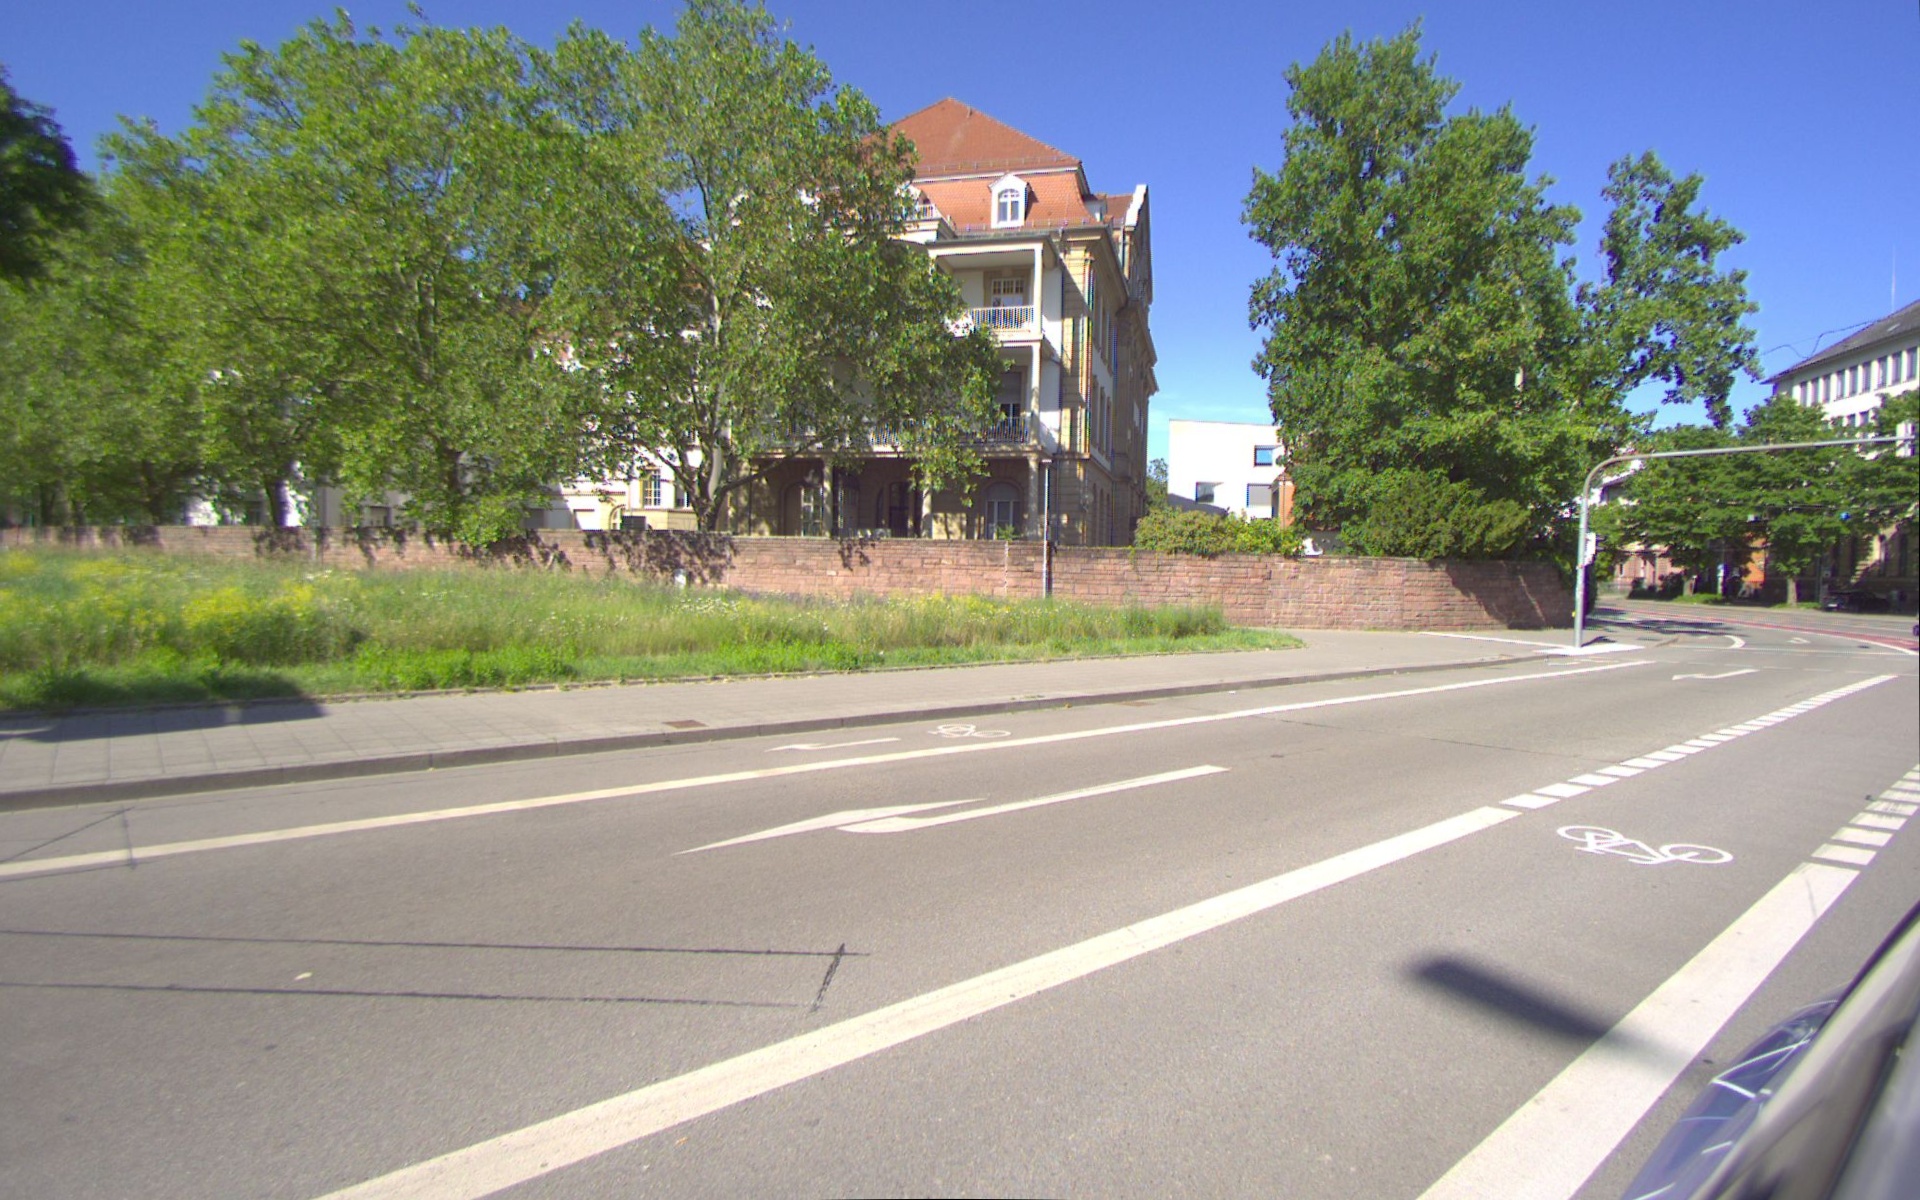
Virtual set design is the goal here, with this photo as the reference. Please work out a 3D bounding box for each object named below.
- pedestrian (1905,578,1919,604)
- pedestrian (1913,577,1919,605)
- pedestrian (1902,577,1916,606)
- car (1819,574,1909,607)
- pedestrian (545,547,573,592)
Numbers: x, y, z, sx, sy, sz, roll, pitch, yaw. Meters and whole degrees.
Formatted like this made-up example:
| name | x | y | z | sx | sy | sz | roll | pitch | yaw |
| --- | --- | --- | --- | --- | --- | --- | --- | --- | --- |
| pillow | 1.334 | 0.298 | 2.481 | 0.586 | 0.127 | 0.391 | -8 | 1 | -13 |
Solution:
| name | x | y | z | sx | sy | sz | roll | pitch | yaw |
| --- | --- | --- | --- | --- | --- | --- | --- | --- | --- |
| pedestrian | 64.020 | -0.597 | 67.950 | 0.670 | 1.744 | 0.584 | 1 | 4 | 27 |
| pedestrian | 64.359 | -0.586 | 67.880 | 0.514 | 1.899 | 0.360 | 1 | 1 | 16 |
| pedestrian | 63.737 | -0.600 | 67.980 | 0.514 | 1.916 | 0.360 | 1 | 1 | 16 |
| car | 60.881 | -0.650 | 68.201 | 4.615 | 2.038 | 2.004 | 1 | 2 | -9 |
| pedestrian | -13.167 | -0.988 | 33.223 | 0.516 | 1.461 | 0.721 | 0 | 0 | 20 |
